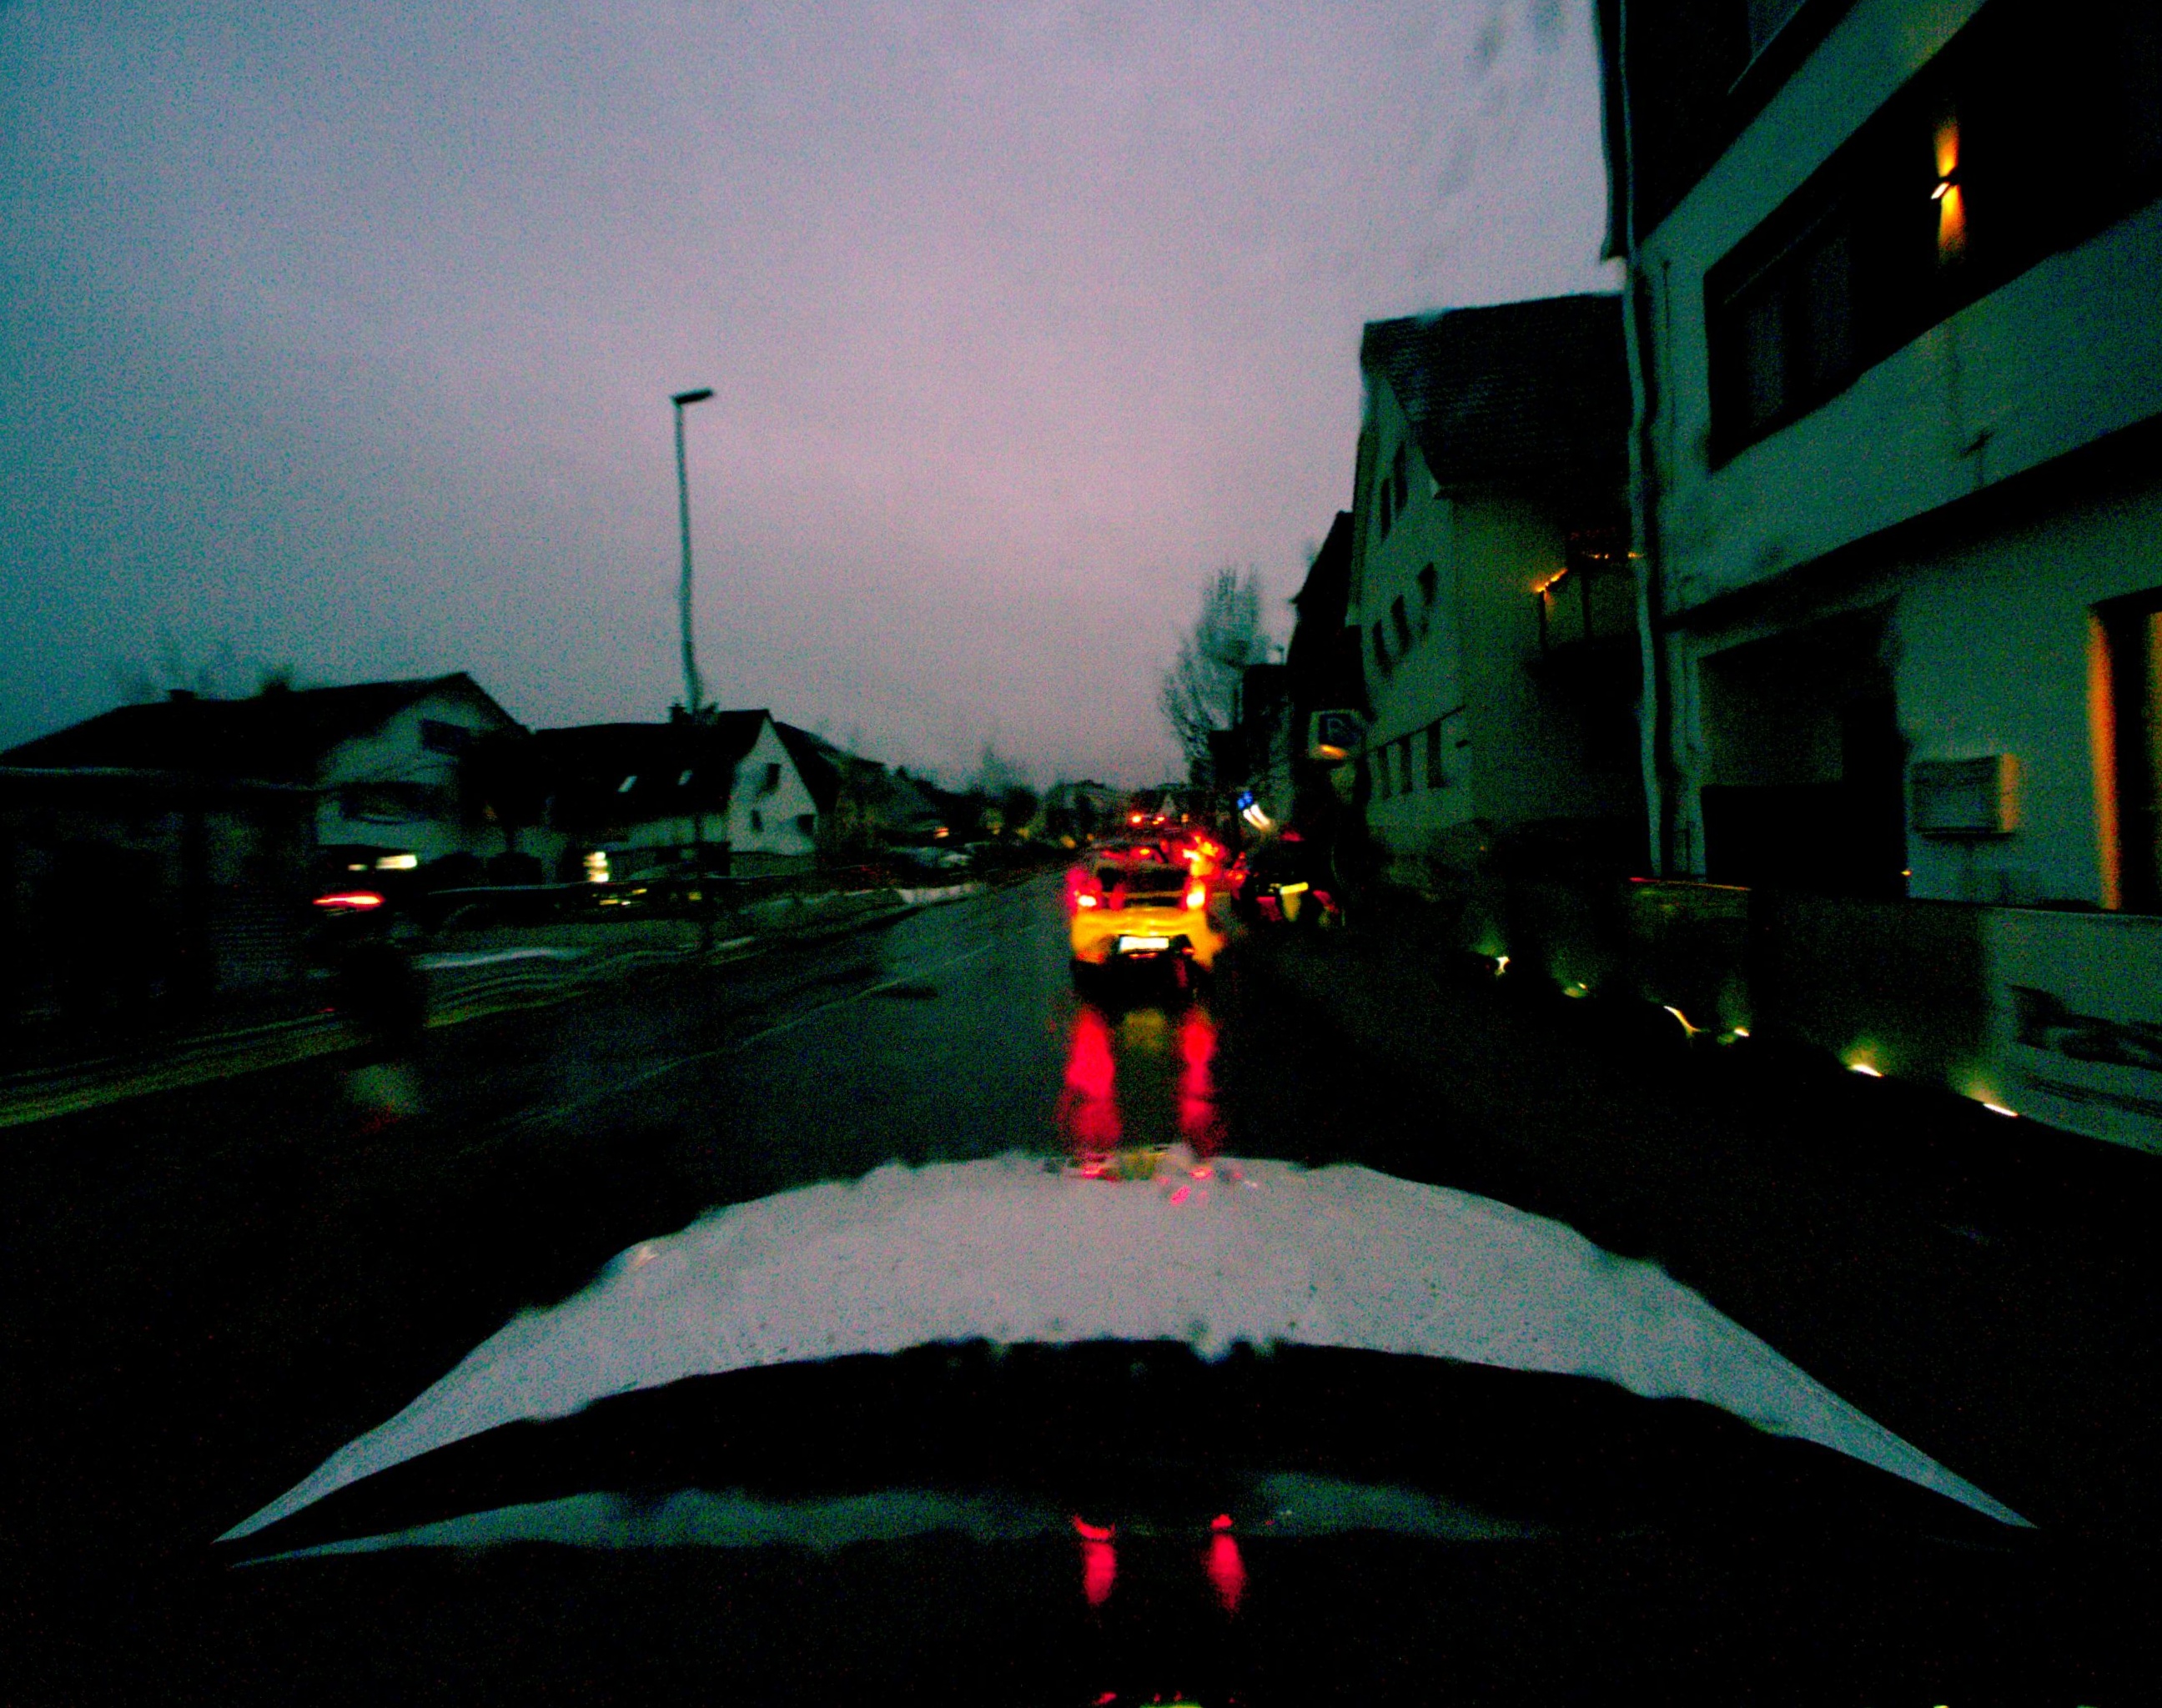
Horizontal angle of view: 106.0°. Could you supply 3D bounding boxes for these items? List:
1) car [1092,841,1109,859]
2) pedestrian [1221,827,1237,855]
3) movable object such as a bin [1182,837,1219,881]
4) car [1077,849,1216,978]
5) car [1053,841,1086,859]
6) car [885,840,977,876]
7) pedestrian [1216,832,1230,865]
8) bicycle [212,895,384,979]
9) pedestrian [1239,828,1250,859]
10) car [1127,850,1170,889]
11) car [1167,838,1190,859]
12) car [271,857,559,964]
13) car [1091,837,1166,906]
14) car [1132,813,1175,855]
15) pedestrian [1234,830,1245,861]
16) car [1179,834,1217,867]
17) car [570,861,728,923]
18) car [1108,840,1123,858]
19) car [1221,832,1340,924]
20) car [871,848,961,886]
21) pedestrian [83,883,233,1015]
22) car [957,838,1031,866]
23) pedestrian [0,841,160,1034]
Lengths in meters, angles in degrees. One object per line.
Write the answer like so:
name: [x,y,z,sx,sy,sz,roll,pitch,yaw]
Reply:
car: [2.459,-0.456,100.887,1.912,2.027,3.978,-1,-1,3]
pedestrian: [9.223,-0.822,50.769,0.706,1.715,1.039,-3,1,18]
movable object such as a bin: [4.295,0.169,29.389,1.123,1.420,1.420,-6,1,7]
car: [0.868,0.678,10.814,1.555,1.412,3.022,-1,1,5]
car: [-1.524,-0.525,107.822,2.011,2.166,4.333,0,-2,-41]
car: [-6.961,0.189,37.932,3.769,1.523,1.720,-2,0,11]
pedestrian: [7.667,-0.304,44.040,0.570,1.699,0.654,-4,0,6]
bicycle: [-11.408,1.177,11.948,0.466,1.010,1.748,-3,0,21]
pedestrian: [9.441,-0.617,47.037,0.525,1.800,0.868,-2,1,14]
car: [2.608,0.565,31.576,1.534,1.331,3.316,-1,1,4]
car: [9.268,-0.539,77.407,1.988,1.865,4.089,-2,0,5]
car: [-13.839,1.070,17.383,1.744,1.700,4.578,-5,1,10]
car: [1.277,0.378,21.323,1.758,1.628,3.590,-1,1,4]
car: [5.661,-1.500,64.443,3.176,3.031,6.312,-1,-1,4]
pedestrian: [8.774,-0.468,45.011,0.525,1.653,0.957,-1,-2,14]
car: [6.530,-0.228,45.703,1.728,1.692,4.391,-3,1,4]
car: [-12.864,1.054,24.636,1.793,1.482,4.581,-5,0,7]
car: [4.656,-0.647,108.725,1.912,2.215,3.978,-1,-1,3]
car: [3.867,0.376,16.459,1.719,1.464,4.207,-5,1,7]
car: [-7.057,0.542,35.055,3.429,1.372,1.602,-3,1,3]
pedestrian: [-9.688,0.972,8.577,0.681,1.271,0.752,-1,1,9]
car: [-5.728,-0.147,54.062,4.607,1.667,2.001,-2,0,2]
pedestrian: [-9.518,0.754,7.709,0.744,1.742,0.688,-1,1,4]
